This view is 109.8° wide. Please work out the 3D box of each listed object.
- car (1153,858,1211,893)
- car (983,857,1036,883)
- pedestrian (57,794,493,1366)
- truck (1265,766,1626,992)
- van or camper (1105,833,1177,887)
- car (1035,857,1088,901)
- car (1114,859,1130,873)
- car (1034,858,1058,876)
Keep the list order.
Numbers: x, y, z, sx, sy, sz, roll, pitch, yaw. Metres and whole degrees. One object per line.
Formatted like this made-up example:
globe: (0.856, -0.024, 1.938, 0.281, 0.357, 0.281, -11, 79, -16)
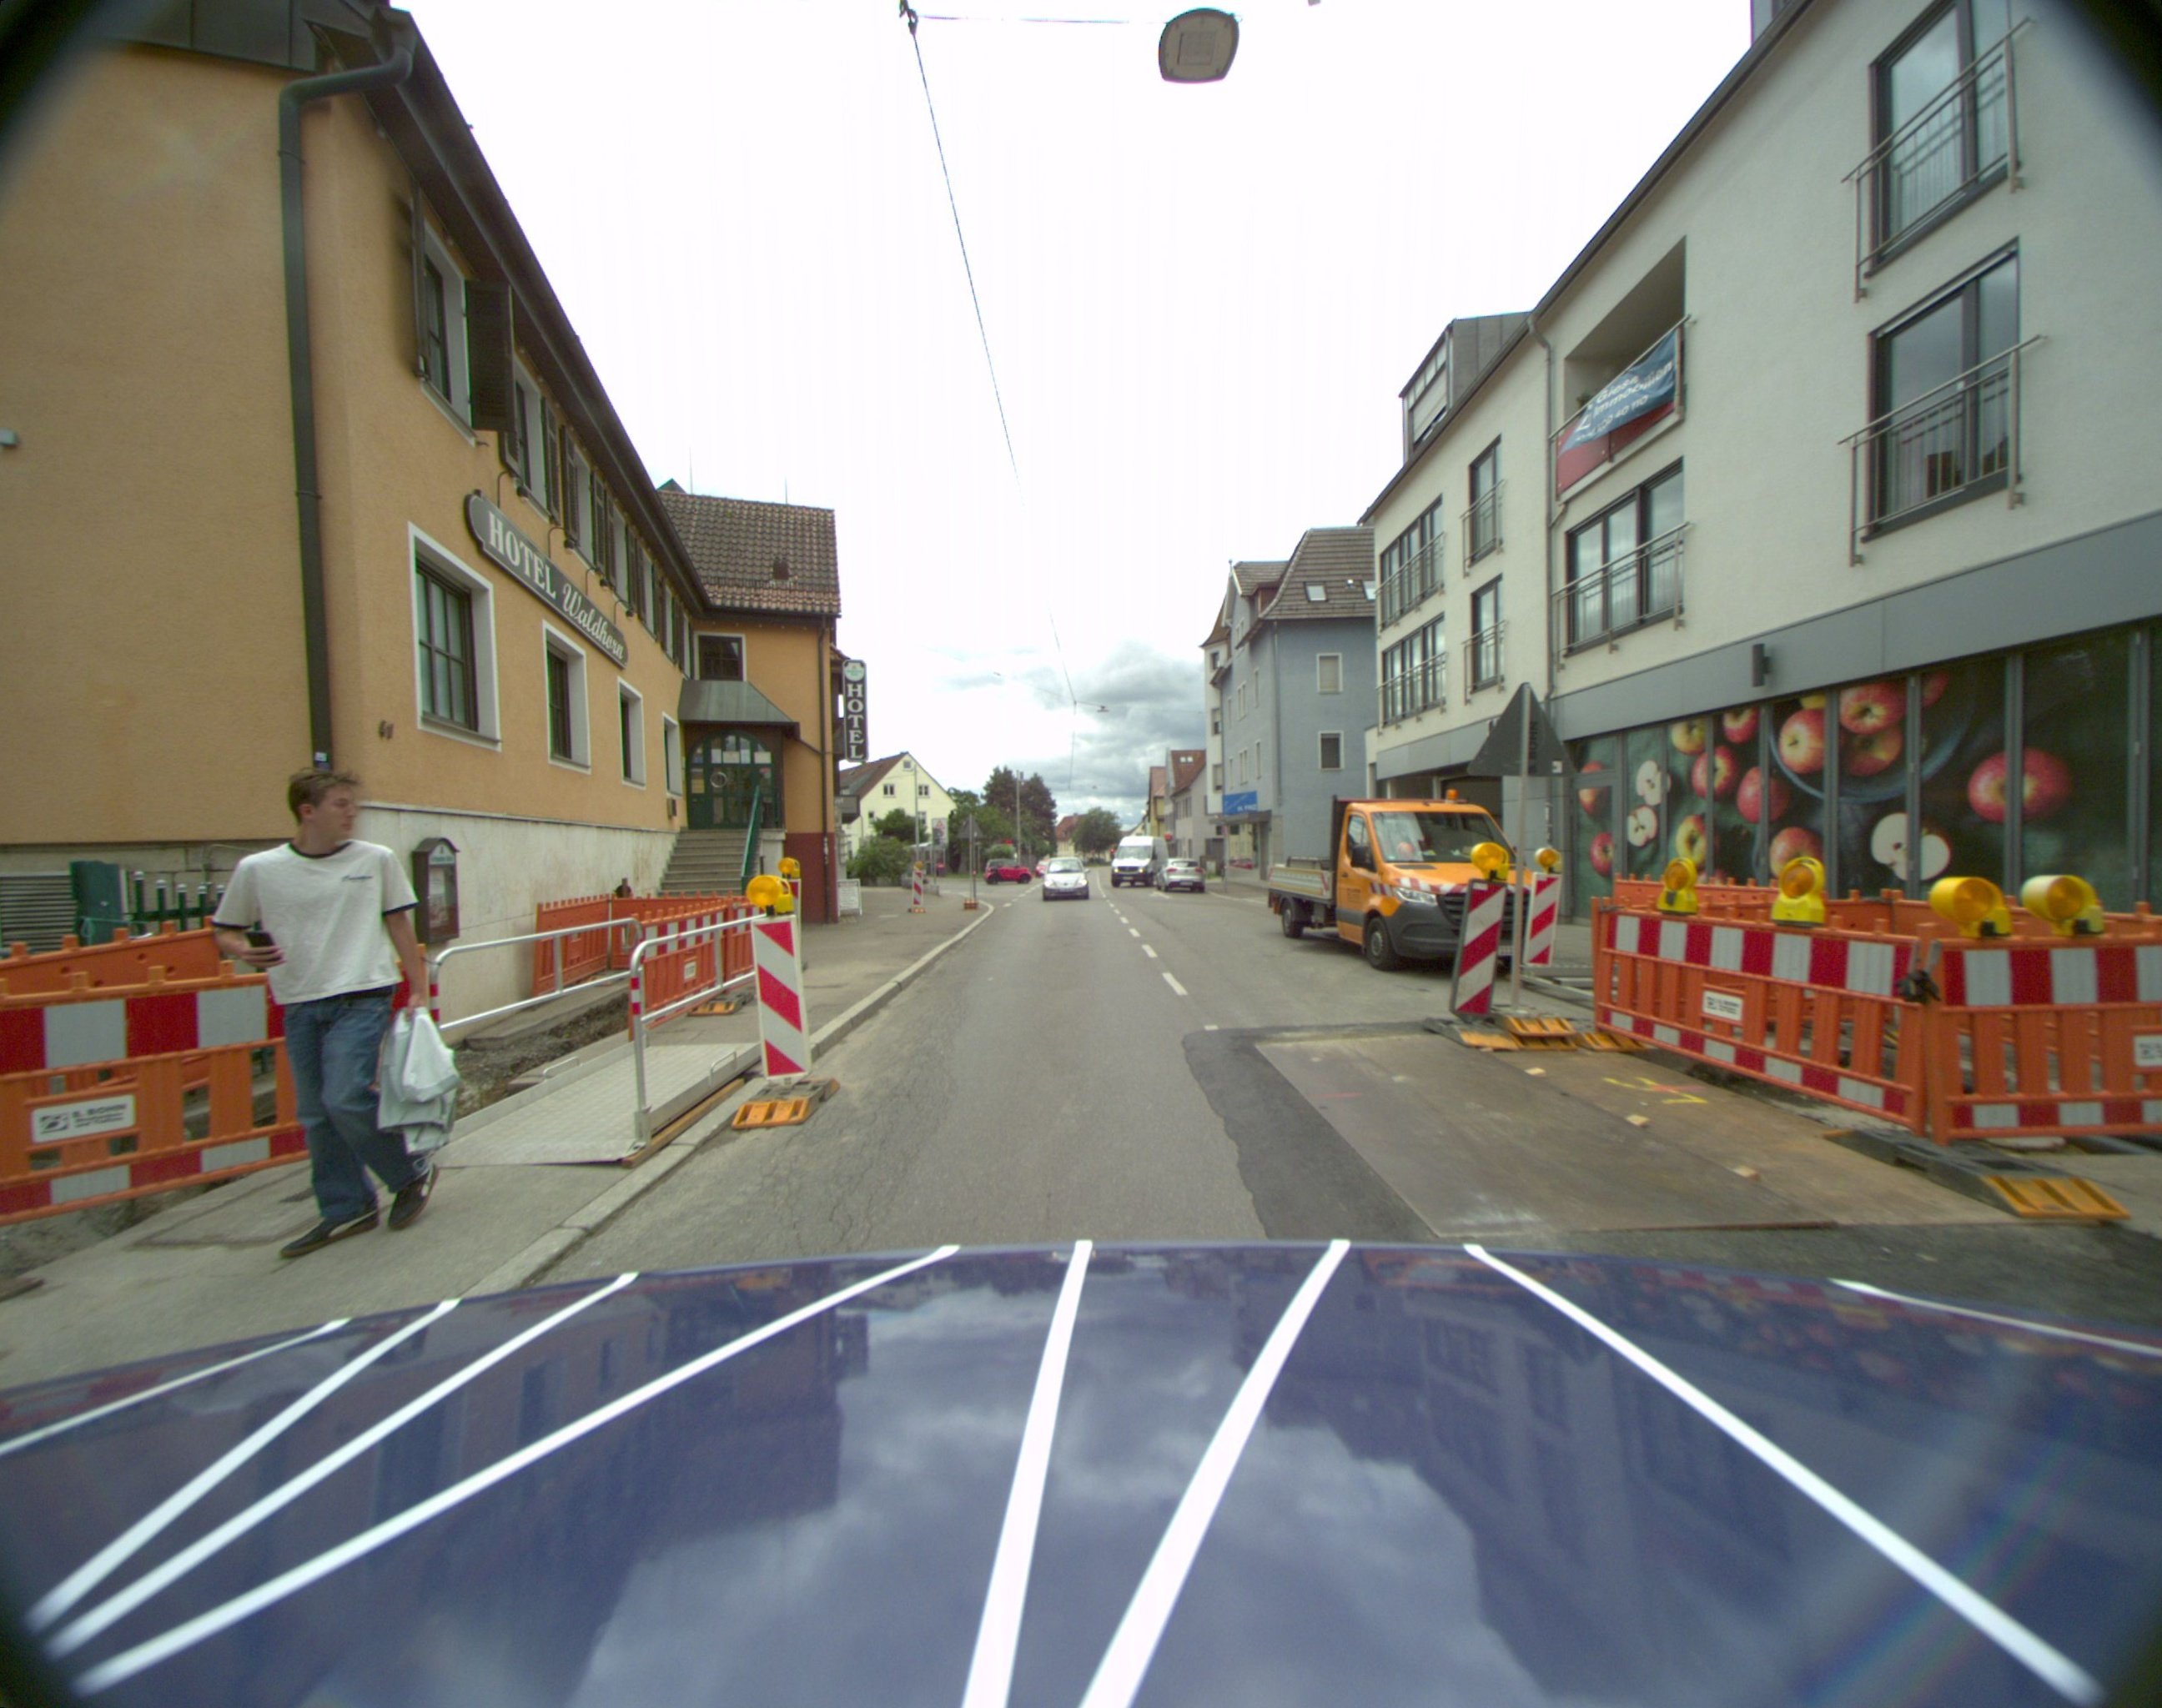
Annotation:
car: (4.364, 0.896, 33.428, 1.803, 1.403, 3.999, -1, 0, -3)
car: (-4.384, 0.958, 46.342, 2.941, 1.511, 1.818, -1, 0, -16)
pedestrian: (-3.076, 0.773, 3.018, 0.800, 1.938, 0.836, -1, 0, -2)
truck: (4.781, 0.298, 11.520, 2.419, 2.451, 6.307, -1, 0, 0)
van or camper: (3.282, 0.316, 40.043, 2.322, 2.592, 6.216, -1, 0, 18)
car: (-0.677, 0.906, 29.502, 1.858, 1.547, 4.353, -1, 0, 1)
car: (5.664, 1.618, 105.563, 2.112, 1.838, 4.353, -1, 0, 1)
car: (-2.993, 1.110, 66.023, 1.718, 1.472, 4.001, -1, 0, 3)
